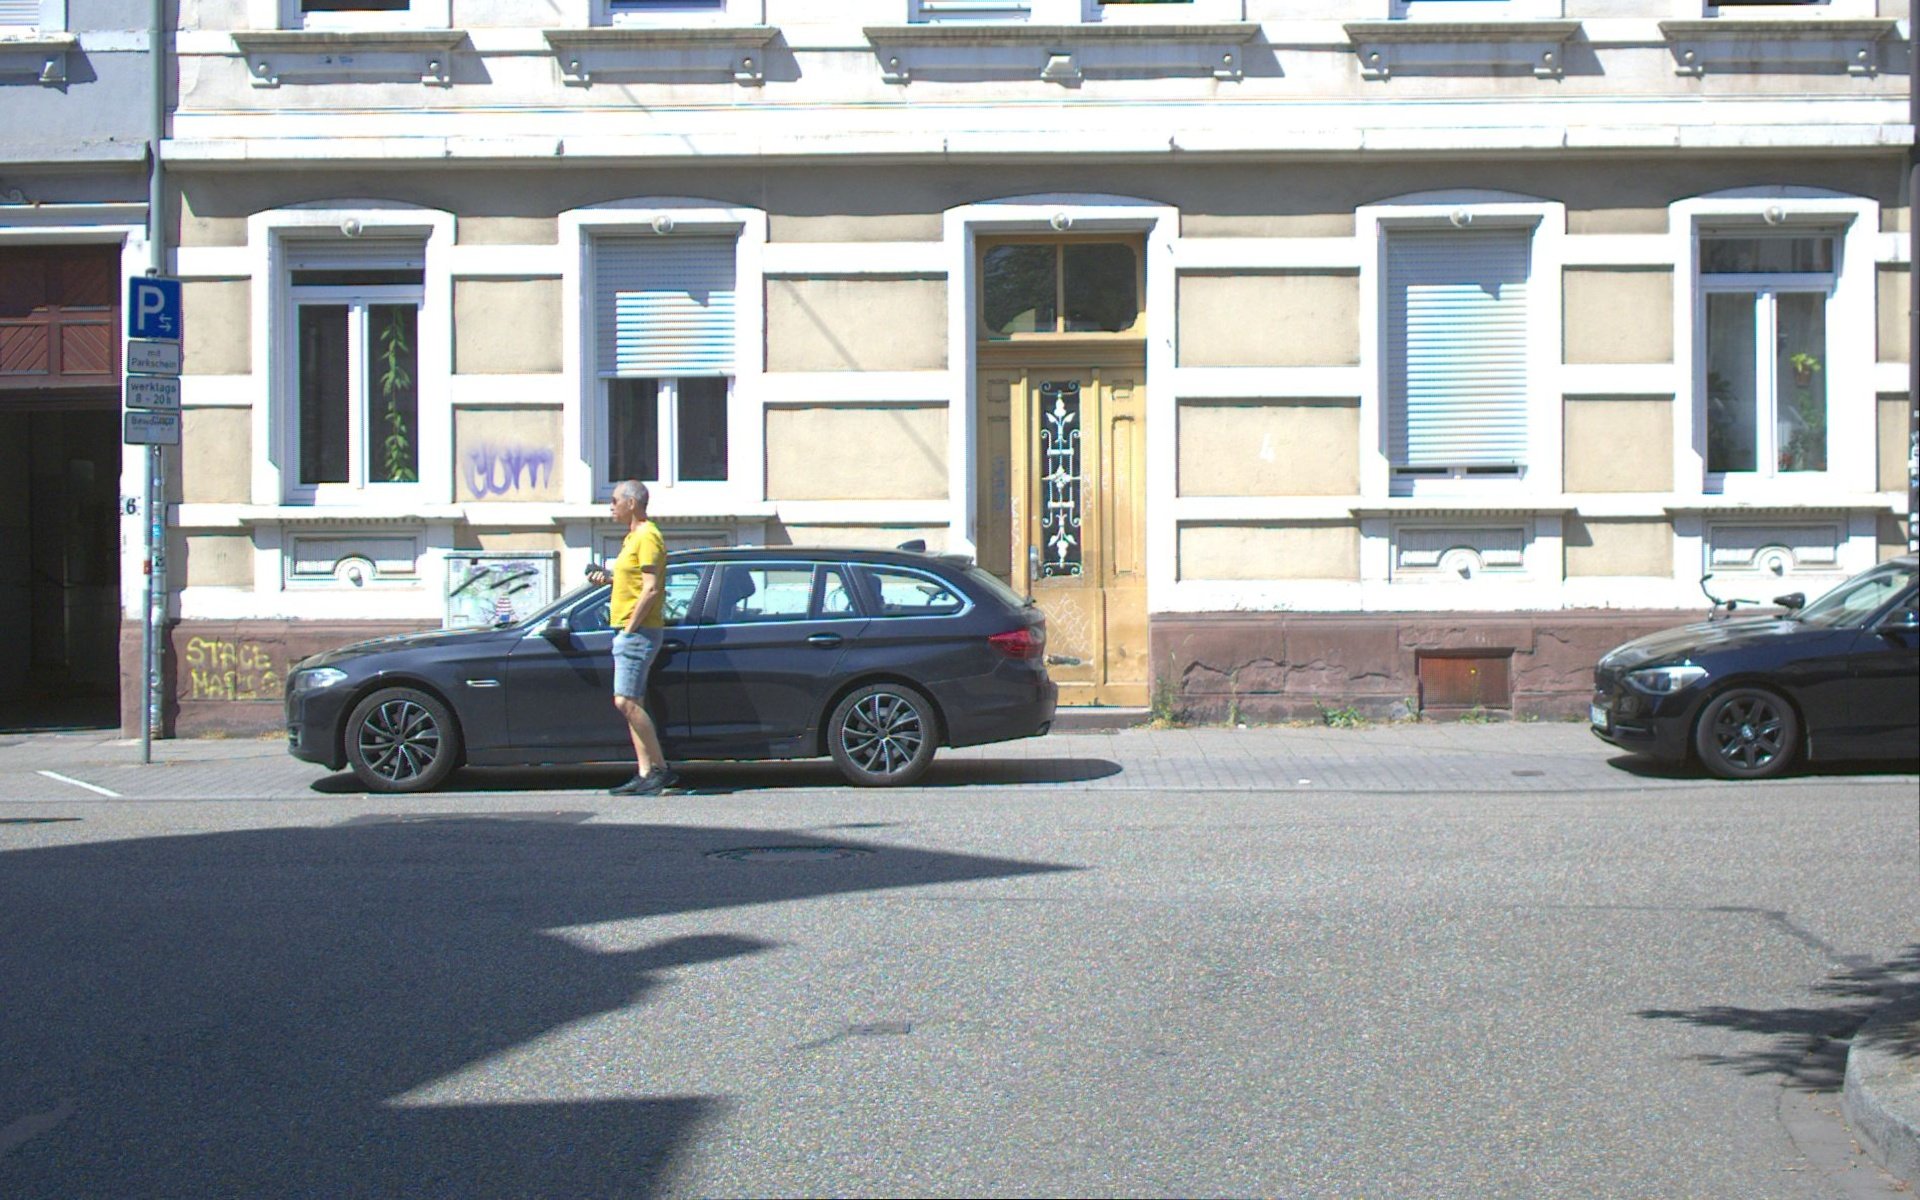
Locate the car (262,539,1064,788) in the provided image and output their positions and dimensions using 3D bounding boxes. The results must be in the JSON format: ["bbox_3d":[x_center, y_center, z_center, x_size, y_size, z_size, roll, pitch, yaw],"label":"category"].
[{"bbox_3d":[-1.793,0.376,21.890,4.859,1.432,2.000,-1,1,1],"label":"car"}]

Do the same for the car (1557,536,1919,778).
[{"bbox_3d":[6.089,0.316,21.826,4.294,1.365,1.807,-1,3,1],"label":"car"}]

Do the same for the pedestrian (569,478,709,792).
[{"bbox_3d":[-1.920,0.203,20.649,0.724,1.847,0.685,-1,0,2],"label":"pedestrian"}]
